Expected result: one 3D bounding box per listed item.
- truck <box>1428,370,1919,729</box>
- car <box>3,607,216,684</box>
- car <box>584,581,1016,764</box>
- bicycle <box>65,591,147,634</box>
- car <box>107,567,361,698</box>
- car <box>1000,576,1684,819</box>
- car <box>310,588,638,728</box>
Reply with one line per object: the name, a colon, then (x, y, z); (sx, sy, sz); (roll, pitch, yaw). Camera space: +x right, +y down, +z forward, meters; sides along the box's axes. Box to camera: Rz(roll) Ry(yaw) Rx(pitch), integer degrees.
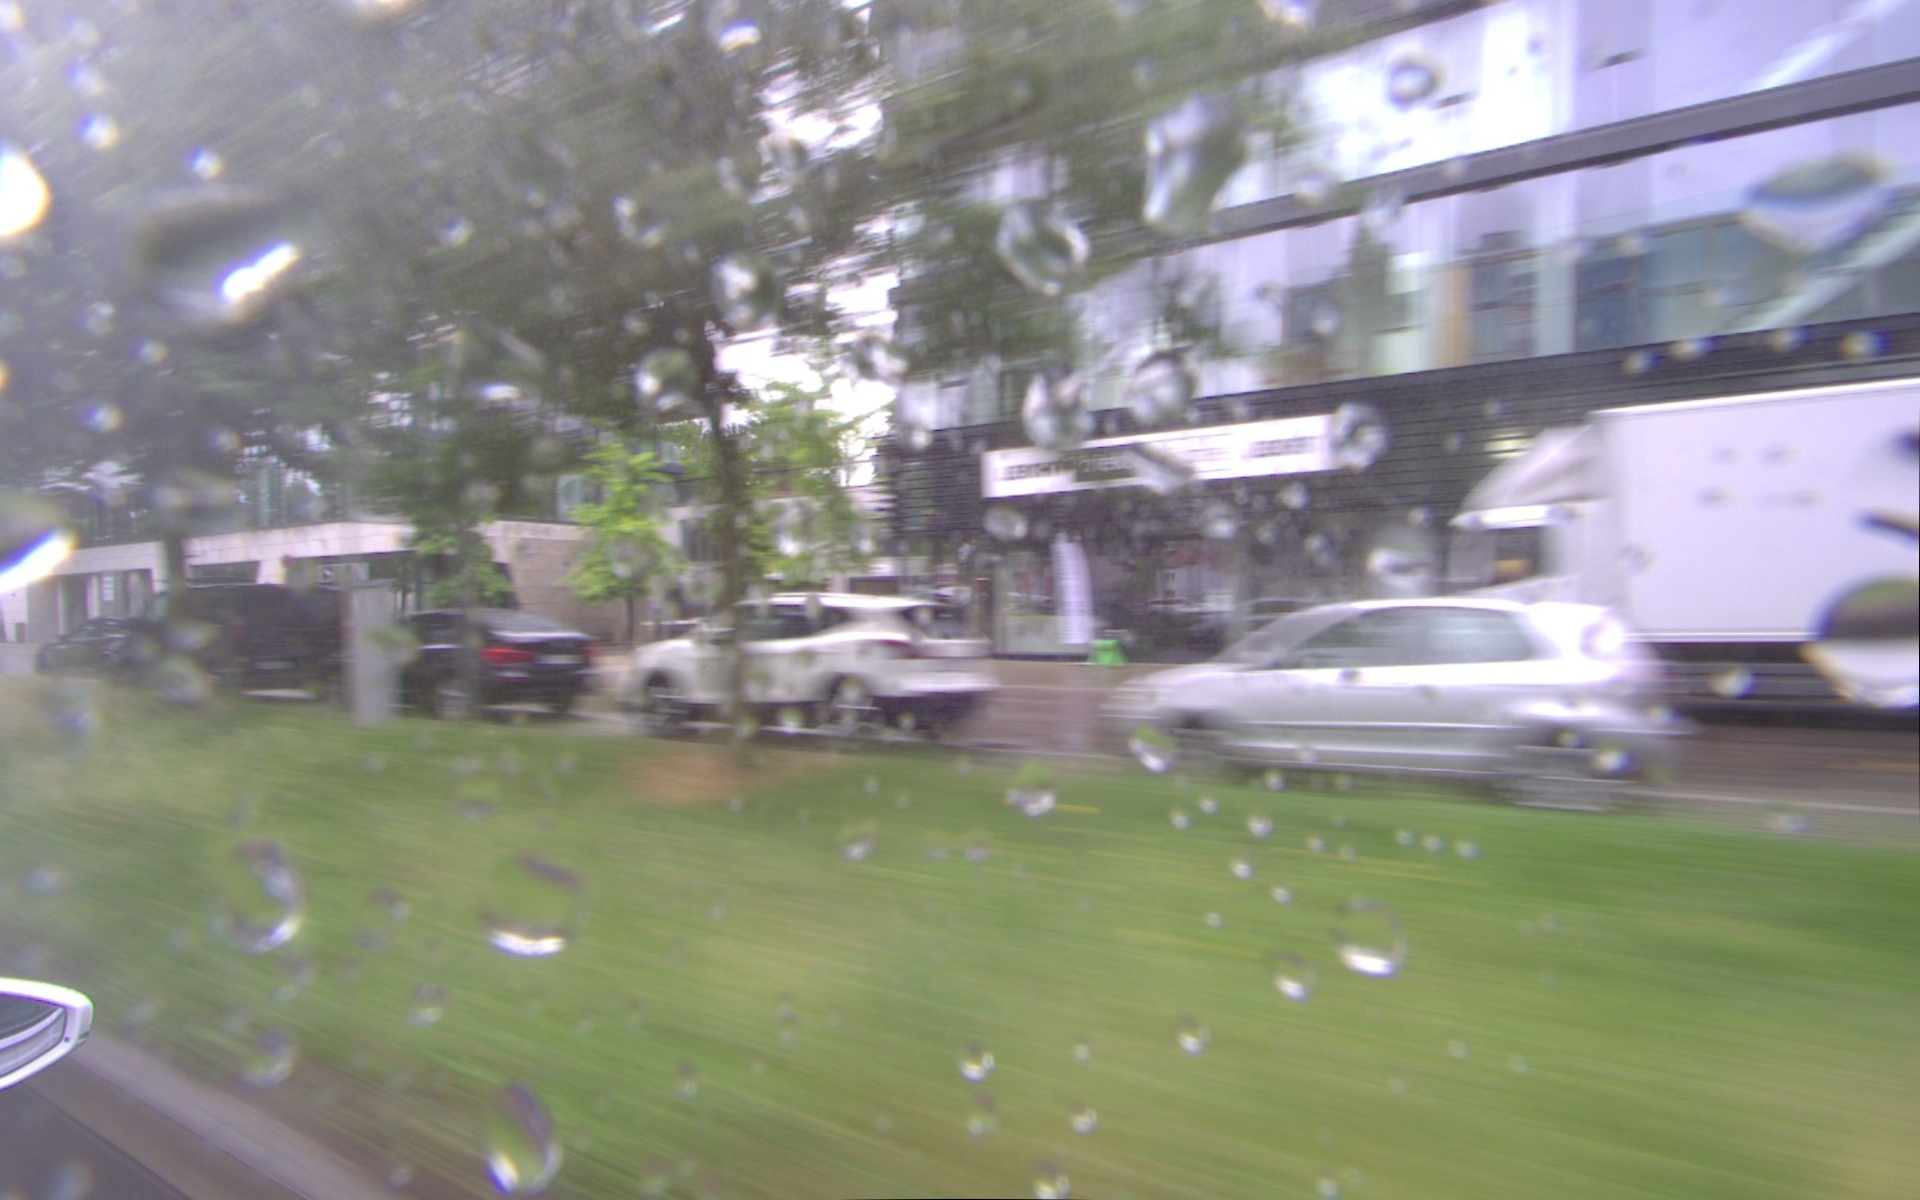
truck: (9.918, -0.483, 11.092); (8.418, 3.486, 3.021); (0, 0, 30)
car: (-18.652, 0.931, 21.960); (4.410, 1.533, 1.955); (-1, 0, 26)
car: (-1.880, 0.671, 11.288); (4.655, 1.691, 1.990); (0, 0, 32)
bicycle: (-38.102, 0.531, 44.723); (0.698, 1.885, 2.670); (1, 1, 37)
car: (-12.966, 0.461, 17.802); (4.955, 1.979, 1.989); (2, 2, 32)
car: (2.788, 0.692, 8.005); (4.653, 1.469, 1.769); (-1, -4, 30)
car: (-7.043, 0.690, 14.364); (4.886, 1.691, 1.989); (1, 1, 32)
